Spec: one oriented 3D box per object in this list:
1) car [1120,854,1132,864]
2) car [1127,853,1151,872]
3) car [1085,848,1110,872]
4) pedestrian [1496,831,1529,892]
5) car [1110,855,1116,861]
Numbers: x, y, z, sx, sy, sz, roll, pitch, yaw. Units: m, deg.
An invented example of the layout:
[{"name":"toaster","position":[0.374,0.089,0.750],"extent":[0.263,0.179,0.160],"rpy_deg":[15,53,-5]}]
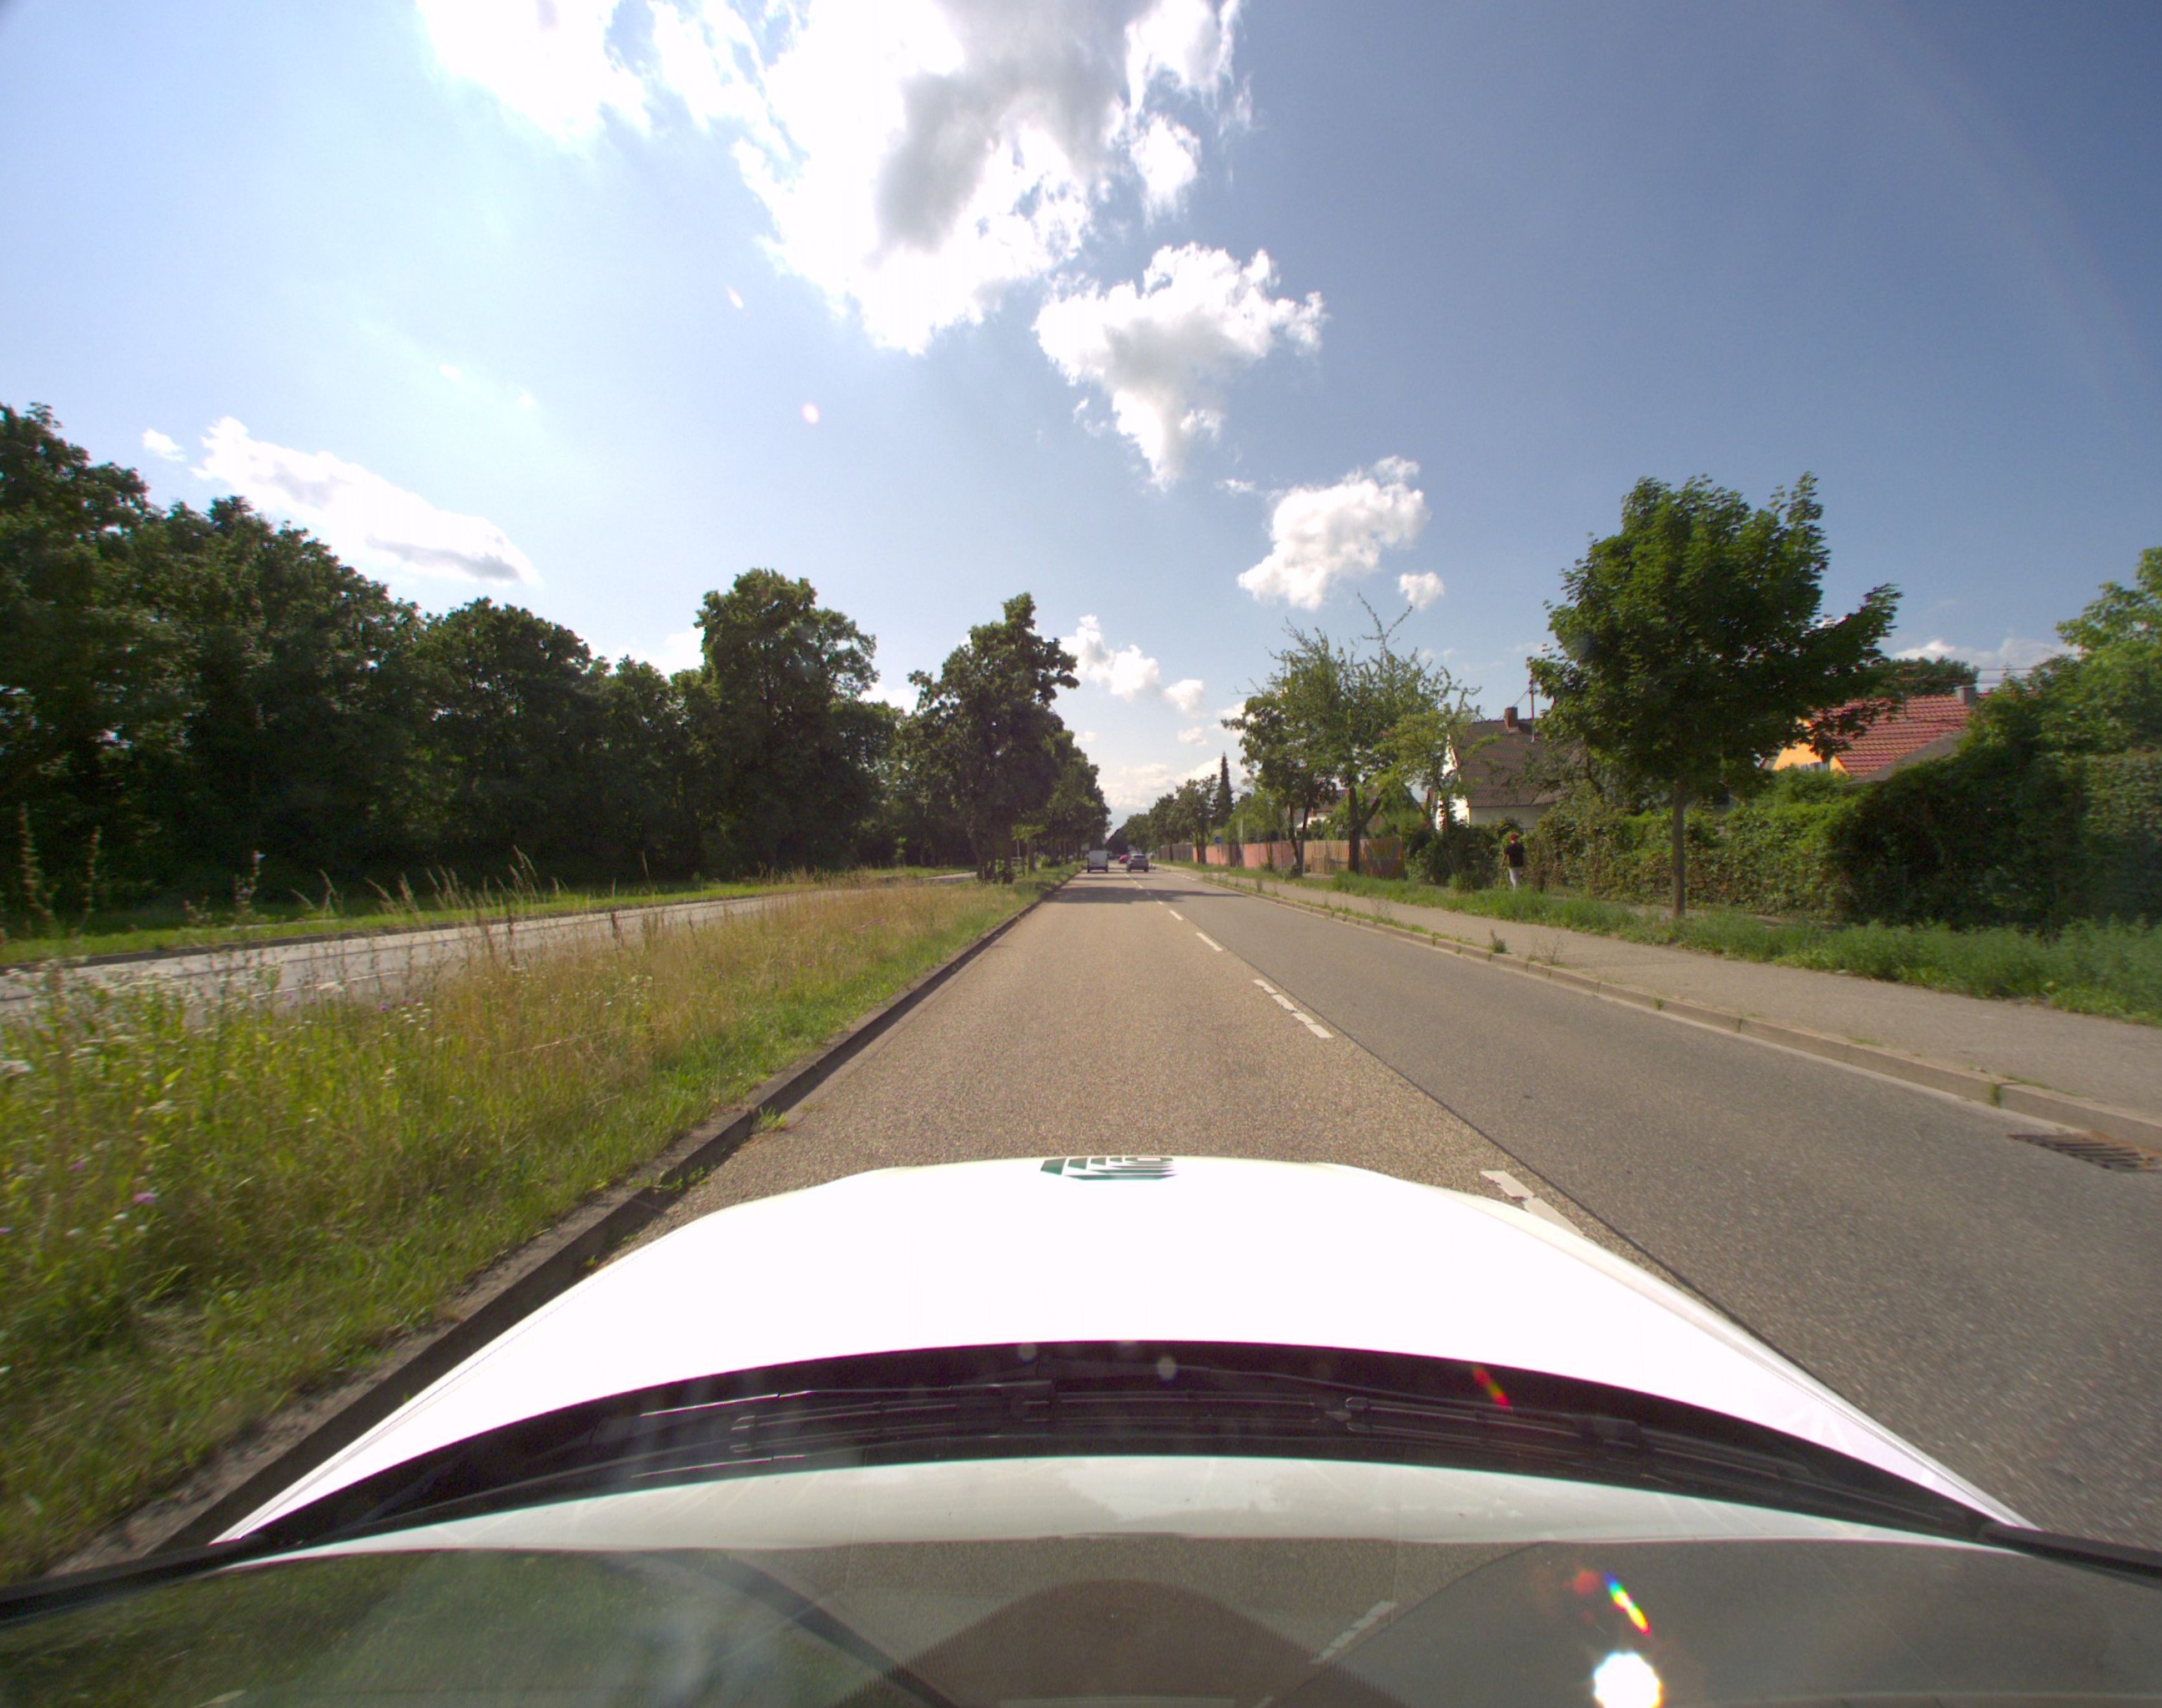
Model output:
[{"name":"car","position":[7.389,0.884,134.066],"extent":[1.873,1.587,4.001],"rpy_deg":[-1,0,1]},{"name":"car","position":[5.050,0.744,71.119],"extent":[1.868,1.589,4.186],"rpy_deg":[-1,0,2]},{"name":"car","position":[1.468,0.499,70.318],"extent":[2.058,1.912,4.648],"rpy_deg":[-1,0,1]},{"name":"pedestrian","position":[11.941,0.206,22.536],"extent":[0.558,1.677,0.634],"rpy_deg":[-1,0,1]},{"name":"car","position":[9.870,1.147,251.680],"extent":[1.986,1.772,4.148],"rpy_deg":[0,0,1]}]
